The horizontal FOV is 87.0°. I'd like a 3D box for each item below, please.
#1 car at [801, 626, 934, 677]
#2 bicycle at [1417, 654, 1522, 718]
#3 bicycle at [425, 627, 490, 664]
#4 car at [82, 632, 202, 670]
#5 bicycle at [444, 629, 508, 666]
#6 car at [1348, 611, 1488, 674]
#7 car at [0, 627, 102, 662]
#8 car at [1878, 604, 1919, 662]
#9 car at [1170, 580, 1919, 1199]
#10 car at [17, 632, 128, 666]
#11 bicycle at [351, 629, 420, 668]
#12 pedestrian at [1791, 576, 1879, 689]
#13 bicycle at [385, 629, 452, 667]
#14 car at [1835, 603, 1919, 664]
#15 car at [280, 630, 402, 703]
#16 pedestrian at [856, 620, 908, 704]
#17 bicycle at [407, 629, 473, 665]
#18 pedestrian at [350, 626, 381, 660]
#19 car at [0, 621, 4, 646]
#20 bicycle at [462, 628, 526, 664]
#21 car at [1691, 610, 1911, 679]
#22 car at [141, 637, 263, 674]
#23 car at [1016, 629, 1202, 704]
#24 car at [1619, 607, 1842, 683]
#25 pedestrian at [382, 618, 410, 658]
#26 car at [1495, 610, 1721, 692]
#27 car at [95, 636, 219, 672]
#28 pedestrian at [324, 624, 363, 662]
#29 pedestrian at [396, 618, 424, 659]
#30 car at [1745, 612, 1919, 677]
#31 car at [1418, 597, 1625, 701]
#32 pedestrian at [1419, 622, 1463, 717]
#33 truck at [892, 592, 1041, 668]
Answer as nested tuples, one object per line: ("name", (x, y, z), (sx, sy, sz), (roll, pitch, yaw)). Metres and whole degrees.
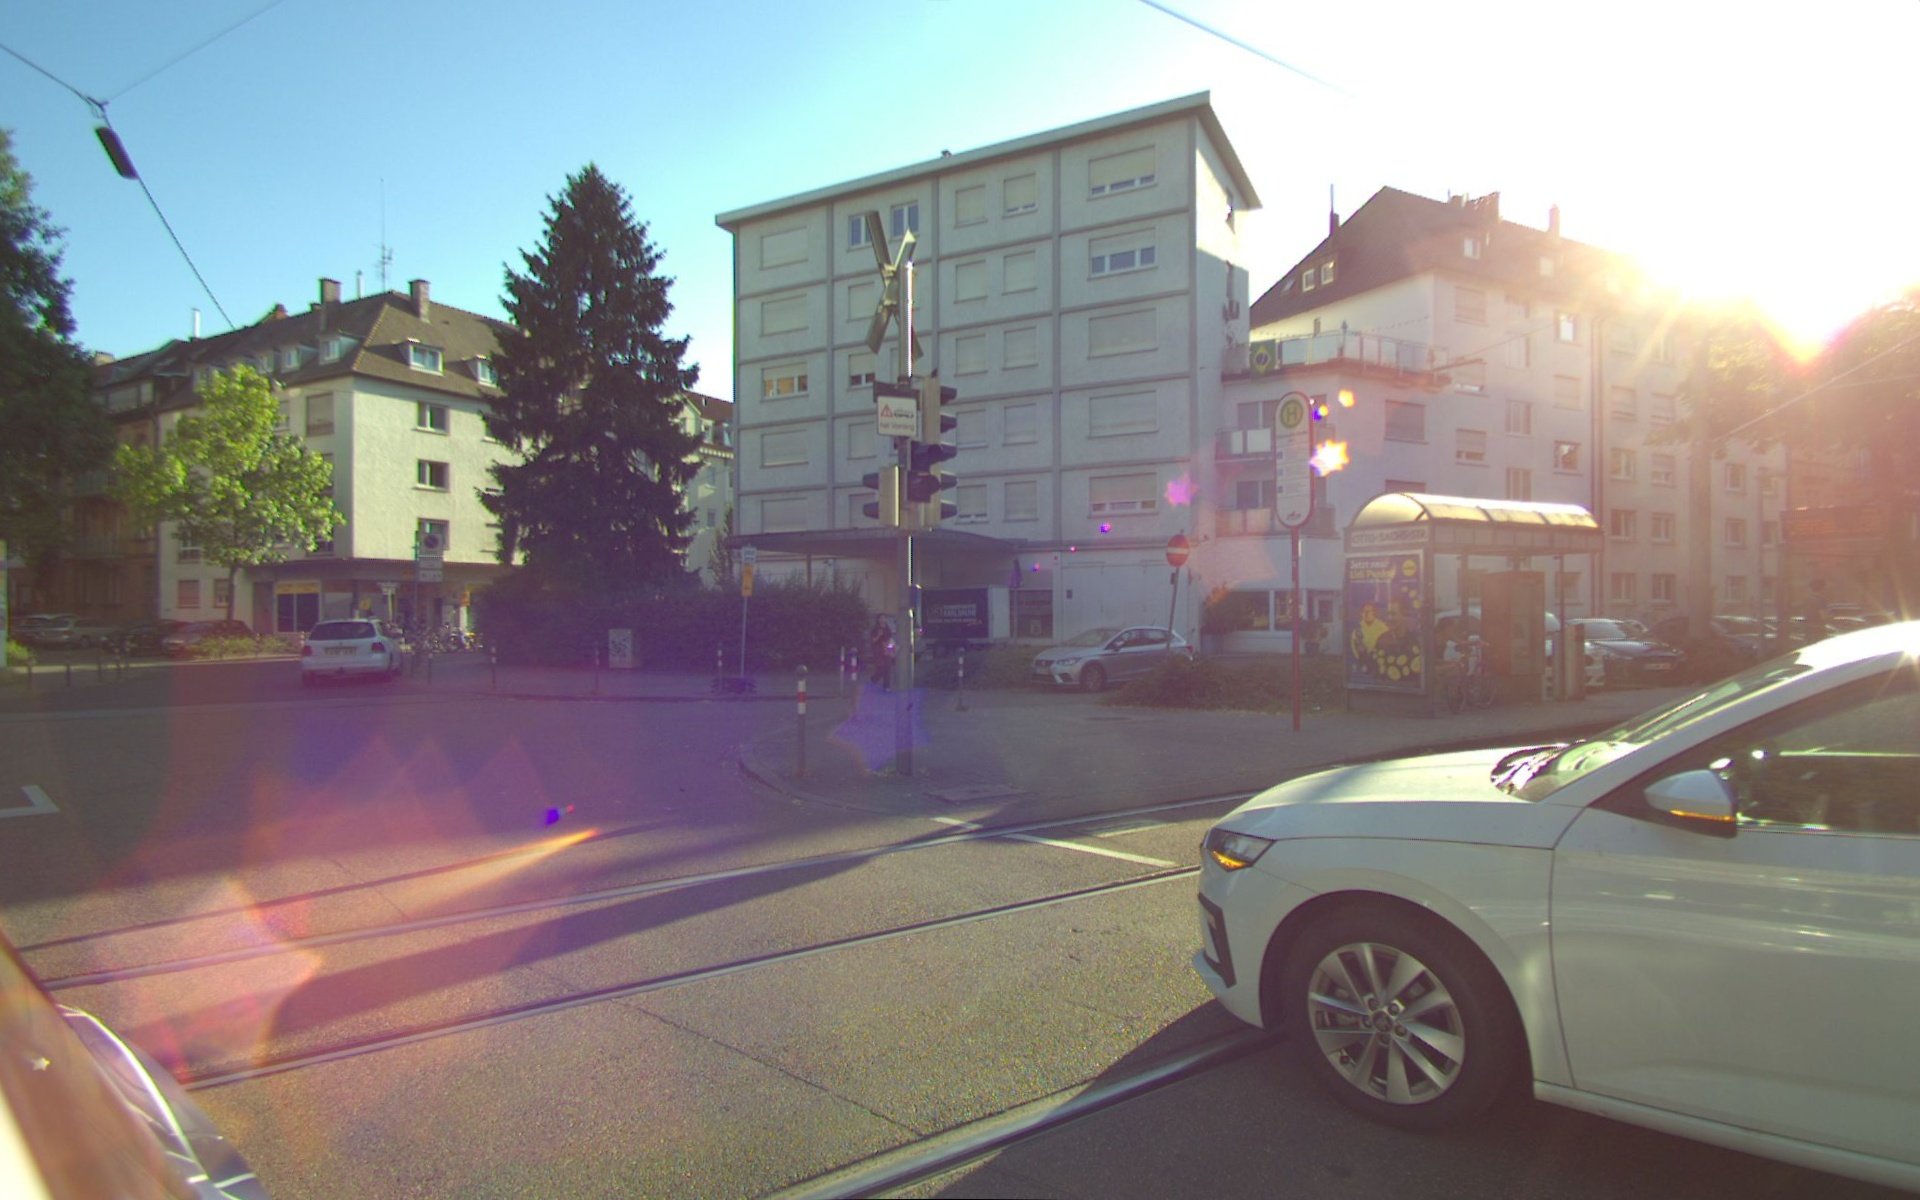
("car", (-3.073, 1.668, 33.319), (3.987, 1.544, 1.978), (-2, -2, 32))
("bicycle", (7.103, 1.182, 14.089), (1.615, 0.789, 0.452), (0, -1, -29))
("bicycle", (-21.769, 1.946, 43.778), (3.368, 1.456, 0.872), (1, 0, 32))
("car", (-37.194, 2.284, 46.148), (1.855, 1.580, 3.982), (-1, -1, 14))
("bicycle", (-21.354, 2.068, 44.633), (3.368, 1.456, 0.872), (1, 0, 32))
("car", (13.606, 1.234, 30.036), (3.931, 1.686, 1.721), (-1, -2, -30))
("car", (-45.320, 2.195, 50.430), (1.847, 1.648, 4.000), (-1, -1, -1))
("car", (30.058, 0.904, 30.139), (1.836, 1.762, 4.229), (-3, -5, 8))
("car", (2.758, 0.686, 2.513), (4.060, 1.468, 1.684), (-2, -2, 41))
("car", (-42.619, 2.322, 48.722), (1.847, 1.517, 4.000), (-1, -1, -1))
("bicycle", (-23.005, 1.913, 40.496), (3.368, 1.456, 0.872), (-1, -1, 32))
("pedestrian", (15.393, 0.557, 17.816), (0.823, 1.925, 0.853), (0, -2, -26))
("bicycle", (-22.288, 1.953, 41.616), (3.368, 1.456, 0.872), (-1, -1, 32))
("car", (27.743, 0.949, 29.045), (1.836, 1.664, 4.229), (-3, -5, 8))
("car", (-14.280, 1.459, 23.571), (1.890, 1.461, 4.310), (-2, -1, -25))
("pedestrian", (-1.699, 1.326, 21.980), (0.856, 1.749, 0.833), (0, 0, -28))
("bicycle", (-21.949, 1.955, 42.667), (3.368, 1.456, 0.872), (-1, -1, 32))
("pedestrian", (-28.154, 2.014, 47.917), (0.887, 1.581, 0.954), (-2, -2, 30))
("car", (-55.329, 1.900, 55.600), (1.847, 1.410, 4.000), (-1, -1, -1))
("bicycle", (-20.887, 2.047, 45.353), (3.368, 1.456, 0.872), (1, 0, 32))
("car", (20.486, 1.171, 24.928), (1.584, 1.470, 4.243), (-2, -5, -3))
("car", (-32.351, 2.327, 43.325), (1.854, 1.410, 3.986), (-1, -1, 11))
("car", (3.376, 1.448, 22.806), (3.932, 1.457, 1.721), (0, -2, -32))
("car", (17.535, 1.108, 23.328), (1.584, 1.519, 4.243), (-2, -5, -3))
("pedestrian", (-27.134, 1.830, 48.713), (0.848, 1.889, 0.882), (-2, -2, 28))
("car", (13.107, 1.121, 20.834), (1.676, 1.448, 4.207), (-2, -5, -3))
("car", (-34.735, 2.326, 43.911), (1.854, 1.410, 3.986), (-1, -1, 11))
("pedestrian", (-28.455, 1.984, 46.721), (0.960, 1.679, 1.203), (-2, -2, 29))
("pedestrian", (-26.303, 1.836, 48.382), (0.848, 1.889, 0.882), (-2, -2, 28))
("car", (22.768, 1.183, 26.008), (1.584, 1.470, 4.243), (-2, -5, -3))
("car", (10.339, 0.980, 19.035), (1.586, 1.665, 4.236), (-3, -5, 3))
("pedestrian", (6.855, 0.978, 14.425), (0.444, 1.311, 0.339), (0, -2, -30))
("truck", (0.203, 1.087, 35.994), (4.950, 2.554, 1.981), (-2, -2, 29))
